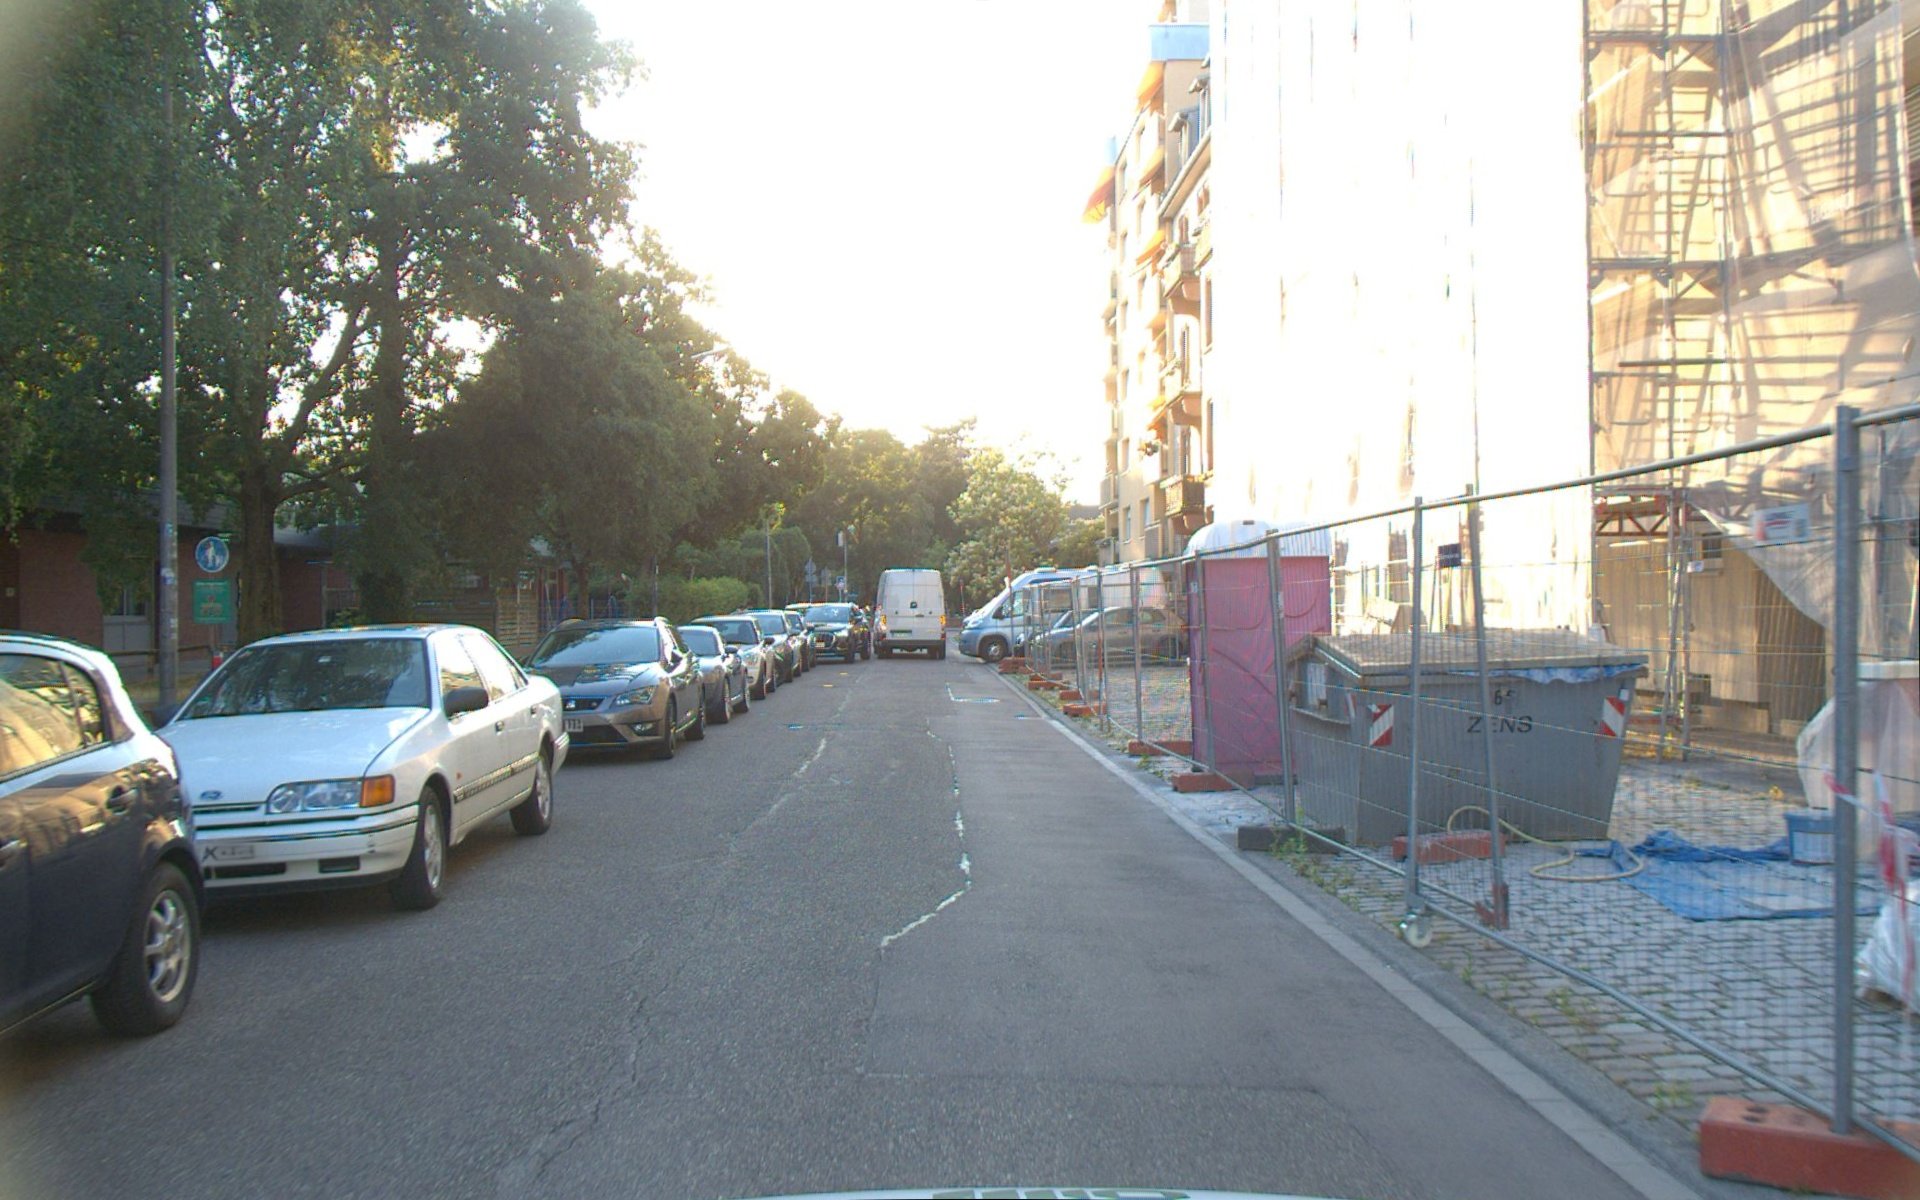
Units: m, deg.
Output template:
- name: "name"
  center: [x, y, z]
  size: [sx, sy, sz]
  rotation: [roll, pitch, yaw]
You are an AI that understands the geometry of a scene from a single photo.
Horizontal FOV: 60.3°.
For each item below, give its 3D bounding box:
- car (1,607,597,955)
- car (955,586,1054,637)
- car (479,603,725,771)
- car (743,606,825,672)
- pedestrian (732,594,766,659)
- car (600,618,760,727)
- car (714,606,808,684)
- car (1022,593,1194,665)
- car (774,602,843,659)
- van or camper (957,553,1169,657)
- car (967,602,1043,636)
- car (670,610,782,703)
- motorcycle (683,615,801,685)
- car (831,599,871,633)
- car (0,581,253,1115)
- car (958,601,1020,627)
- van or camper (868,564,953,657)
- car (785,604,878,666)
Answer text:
- name: "car"
  center: [-3.507, 0.825, 9.861]
  size: [1.747, 1.471, 4.746]
  rotation: [-3, 0, -2]
- name: "car"
  center: [2.029, 0.508, 76.025]
  size: [4.406, 2.269, 2.031]
  rotation: [1, 0, -3]
- name: "car"
  center: [-3.789, 0.846, 18.323]
  size: [1.822, 1.565, 4.756]
  rotation: [-2, 0, -2]
- name: "car"
  center: [-4.302, 0.928, 40.981]
  size: [1.604, 1.504, 3.992]
  rotation: [-2, 0, -1]
- name: "pedestrian"
  center: [-6.092, 0.764, 47.778]
  size: [0.919, 1.862, 0.786]
  rotation: [1, -1, -3]
- name: "car"
  center: [-3.908, 0.965, 23.663]
  size: [1.625, 1.336, 4.153]
  rotation: [-2, 0, -1]
- name: "car"
  center: [-4.247, 0.932, 35.823]
  size: [1.681, 1.522, 4.358]
  rotation: [-2, 0, -3]
- name: "car"
  center: [3.669, 0.700, 41.357]
  size: [3.911, 1.542, 2.017]
  rotation: [-3, 0, -6]
- name: "car"
  center: [-4.763, 0.930, 52.487]
  size: [1.747, 1.659, 4.000]
  rotation: [-2, 0, 0]
- name: "van or camper"
  center: [2.869, 0.158, 46.949]
  size: [5.810, 2.818, 2.108]
  rotation: [1, 0, -3]
- name: "car"
  center: [2.355, 0.987, 87.173]
  size: [3.906, 1.758, 1.999]
  rotation: [1, 0, -1]
- name: "car"
  center: [-4.103, 0.952, 29.417]
  size: [1.569, 1.456, 3.801]
  rotation: [-3, 0, -3]
- name: "motorcycle"
  center: [-4.293, 0.976, 32.627]
  size: [2.118, 1.326, 0.880]
  rotation: [1, -1, 12]
- name: "car"
  center: [-5.468, 0.802, 83.263]
  size: [1.954, 1.646, 3.997]
  rotation: [1, 0, -3]
- name: "car"
  center: [-3.631, 0.687, 4.501]
  size: [1.954, 1.478, 3.996]
  rotation: [0, 0, -5]
- name: "car"
  center: [1.909, 0.916, 109.439]
  size: [3.909, 1.646, 1.998]
  rotation: [1, 0, -6]
- name: "van or camper"
  center: [-1.507, 0.311, 50.791]
  size: [2.404, 2.591, 6.081]
  rotation: [2, 0, -2]
- name: "car"
  center: [-3.501, 0.932, 45.797]
  size: [1.766, 1.597, 4.568]
  rotation: [-1, 0, 5]
